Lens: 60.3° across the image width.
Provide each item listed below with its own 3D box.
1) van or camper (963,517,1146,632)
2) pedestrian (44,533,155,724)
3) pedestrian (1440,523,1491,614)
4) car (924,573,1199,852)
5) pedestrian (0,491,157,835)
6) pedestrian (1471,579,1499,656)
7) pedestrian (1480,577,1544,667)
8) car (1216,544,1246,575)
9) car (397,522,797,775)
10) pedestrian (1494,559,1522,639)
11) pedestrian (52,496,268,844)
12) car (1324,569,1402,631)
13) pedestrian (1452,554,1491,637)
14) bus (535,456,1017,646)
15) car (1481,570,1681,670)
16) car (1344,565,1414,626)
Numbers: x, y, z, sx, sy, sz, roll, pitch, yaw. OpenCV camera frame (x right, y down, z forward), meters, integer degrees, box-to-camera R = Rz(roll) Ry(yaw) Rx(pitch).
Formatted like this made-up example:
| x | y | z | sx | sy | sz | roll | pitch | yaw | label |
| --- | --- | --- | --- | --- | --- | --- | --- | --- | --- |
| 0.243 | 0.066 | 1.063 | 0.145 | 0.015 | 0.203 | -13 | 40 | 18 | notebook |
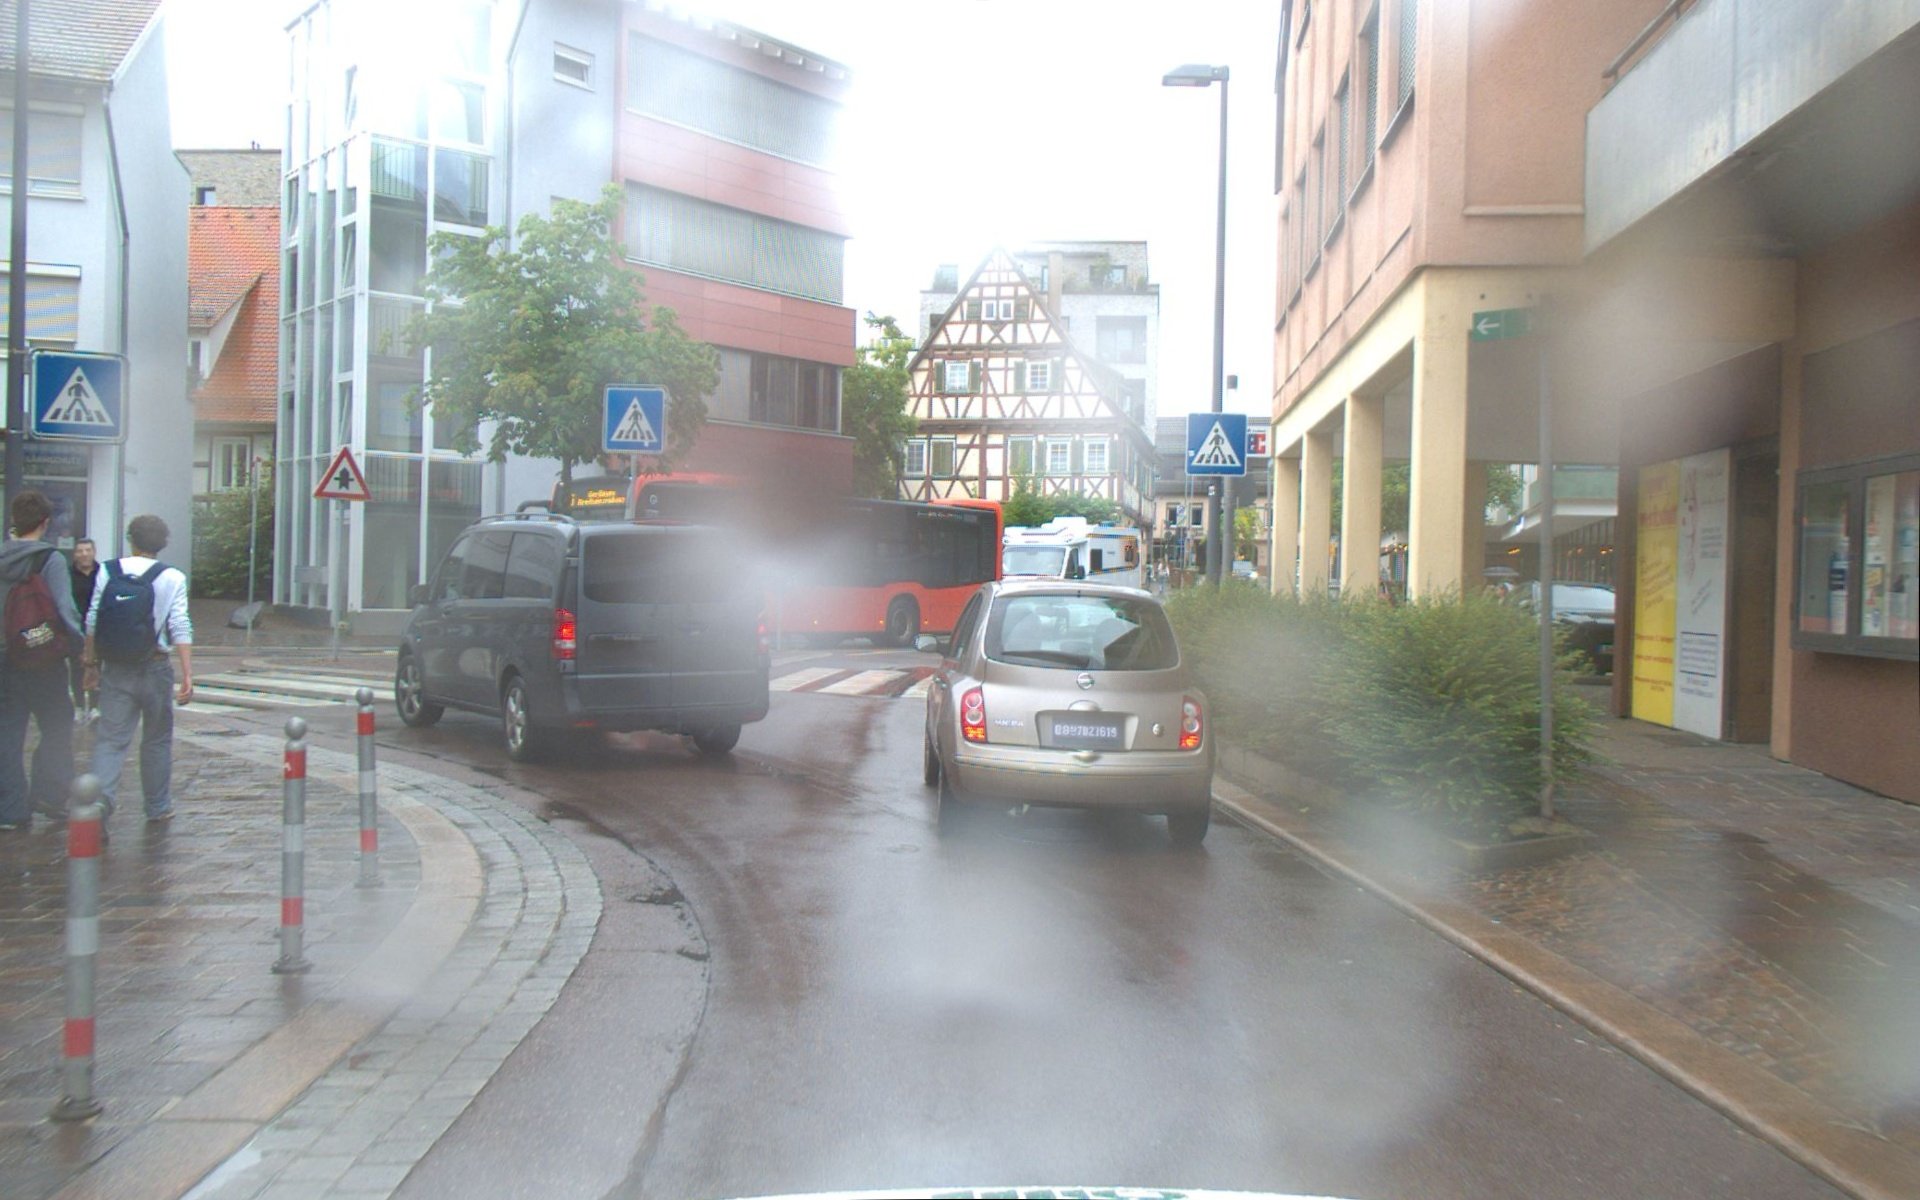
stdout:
| x | y | z | sx | sy | sz | roll | pitch | yaw | label |
| --- | --- | --- | --- | --- | --- | --- | --- | --- | --- |
| 2.538 | -0.626 | 41.785 | 2.389 | 2.630 | 6.748 | 2 | 1 | 23 | van or camper |
| -7.618 | 0.243 | 14.667 | 0.647 | 1.638 | 0.683 | 1 | 1 | -6 | pedestrian |
| 9.552 | -0.596 | 31.254 | 0.684 | 1.690 | 0.818 | 1 | 0 | 36 | pedestrian |
| 0.547 | 0.593 | 10.742 | 1.491 | 1.496 | 3.341 | 1 | 1 | 0 | car |
| -5.153 | 0.328 | 9.340 | 0.678 | 1.832 | 1.058 | 1 | 0 | 1 | pedestrian |
| 10.602 | 0.356 | 33.390 | 0.486 | 1.535 | 0.491 | 1 | 0 | 14 | pedestrian |
| 10.471 | 0.404 | 31.349 | 0.948 | 1.667 | 0.731 | 1 | 0 | 38 | pedestrian |
| 15.846 | -2.351 | 96.516 | 1.552 | 1.742 | 3.324 | 2 | 1 | 12 | car |
| -3.332 | 0.287 | 14.364 | 1.928 | 1.812 | 4.675 | 1 | 1 | -32 | car |
| 11.807 | -0.021 | 35.655 | 0.529 | 1.692 | 0.521 | 1 | 0 | 15 | pedestrian |
| -4.474 | 0.366 | 9.322 | 0.649 | 1.838 | 1.061 | 1 | 0 | 2 | pedestrian |
| 9.744 | -0.026 | 39.862 | 1.505 | 1.385 | 3.375 | 2 | 1 | 18 | car |
| 11.160 | -0.106 | 36.100 | 0.718 | 1.779 | 0.893 | 1 | 0 | 13 | pedestrian |
| -3.116 | -0.871 | 32.353 | 2.768 | 3.142 | 10.559 | 2 | 2 | 38 | bus |
| 8.975 | 0.244 | 24.273 | 1.725 | 1.298 | 4.475 | 1 | 1 | 7 | car |
| 11.308 | -0.142 | 44.827 | 1.589 | 1.527 | 4.004 | -2 | 0 | 11 | car |
